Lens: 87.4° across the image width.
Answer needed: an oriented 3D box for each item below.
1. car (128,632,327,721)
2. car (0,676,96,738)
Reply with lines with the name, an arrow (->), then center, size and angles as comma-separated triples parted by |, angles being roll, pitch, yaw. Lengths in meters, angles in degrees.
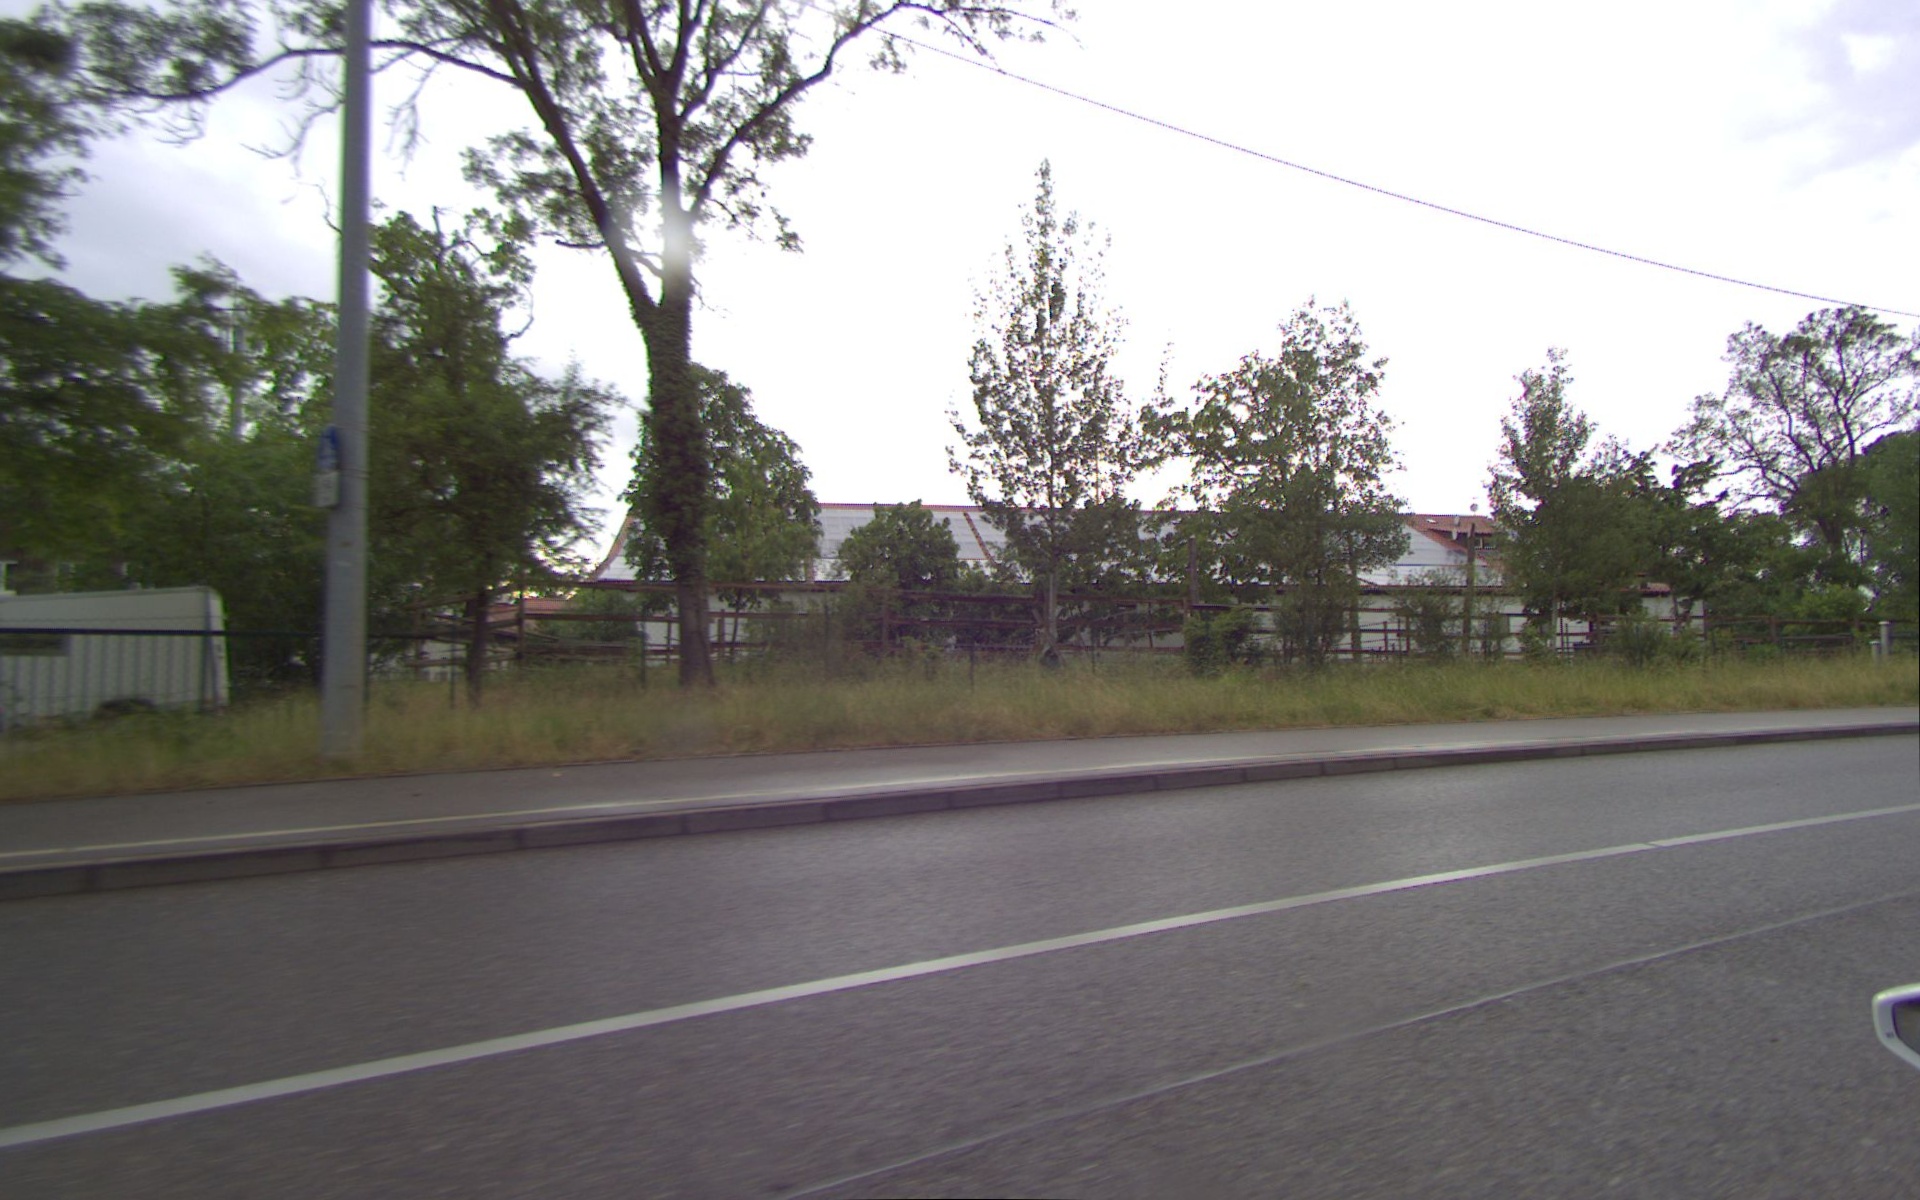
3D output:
car -> -15.655, 1.644, 21.766 | 1.898, 1.733, 3.993 | 2, -4, -11
car -> -30.745, 3.459, 32.850 | 1.718, 1.639, 3.865 | 1, -1, -3
